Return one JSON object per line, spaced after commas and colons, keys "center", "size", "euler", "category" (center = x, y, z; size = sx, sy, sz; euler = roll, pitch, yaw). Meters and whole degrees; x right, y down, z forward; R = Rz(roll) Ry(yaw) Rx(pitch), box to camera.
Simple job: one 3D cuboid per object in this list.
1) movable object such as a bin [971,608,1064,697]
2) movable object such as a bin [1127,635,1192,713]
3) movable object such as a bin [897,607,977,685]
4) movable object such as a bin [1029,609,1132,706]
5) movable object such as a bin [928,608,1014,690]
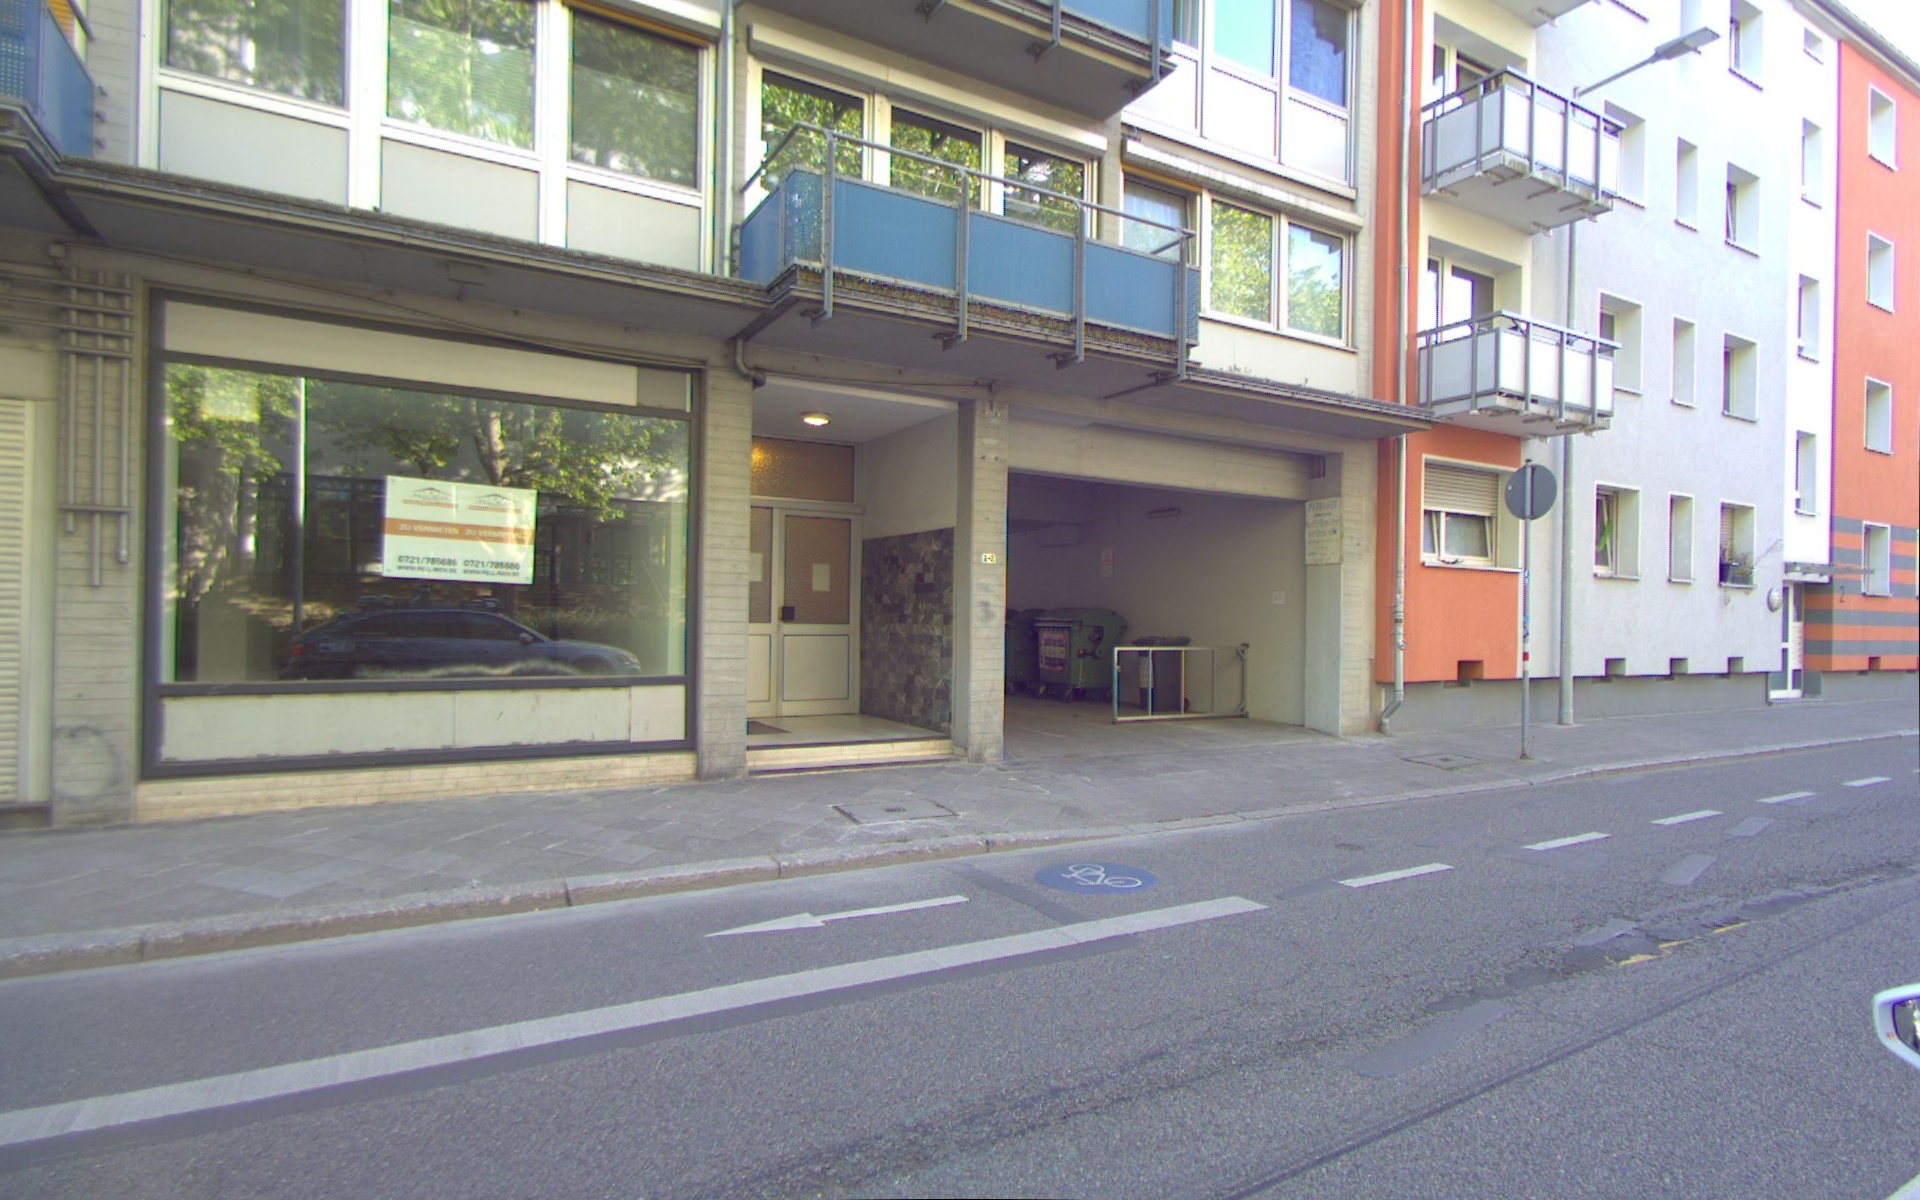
{"center": [0.968, 0.866, 17.162], "size": [1.116, 1.444, 1.201], "euler": [1, 0, -30], "category": "movable object such as a bin"}
{"center": [2.878, 1.054, 14.492], "size": [0.667, 1.079, 0.639], "euler": [1, 0, -30], "category": "movable object such as a bin"}
{"center": [-0.449, 0.880, 19.608], "size": [1.116, 1.444, 1.201], "euler": [1, 0, -30], "category": "movable object such as a bin"}
{"center": [1.880, 0.872, 15.802], "size": [1.116, 1.444, 1.201], "euler": [1, 0, -30], "category": "movable object such as a bin"}
{"center": [0.198, 0.873, 18.460], "size": [1.116, 1.444, 1.201], "euler": [1, 0, -30], "category": "movable object such as a bin"}
